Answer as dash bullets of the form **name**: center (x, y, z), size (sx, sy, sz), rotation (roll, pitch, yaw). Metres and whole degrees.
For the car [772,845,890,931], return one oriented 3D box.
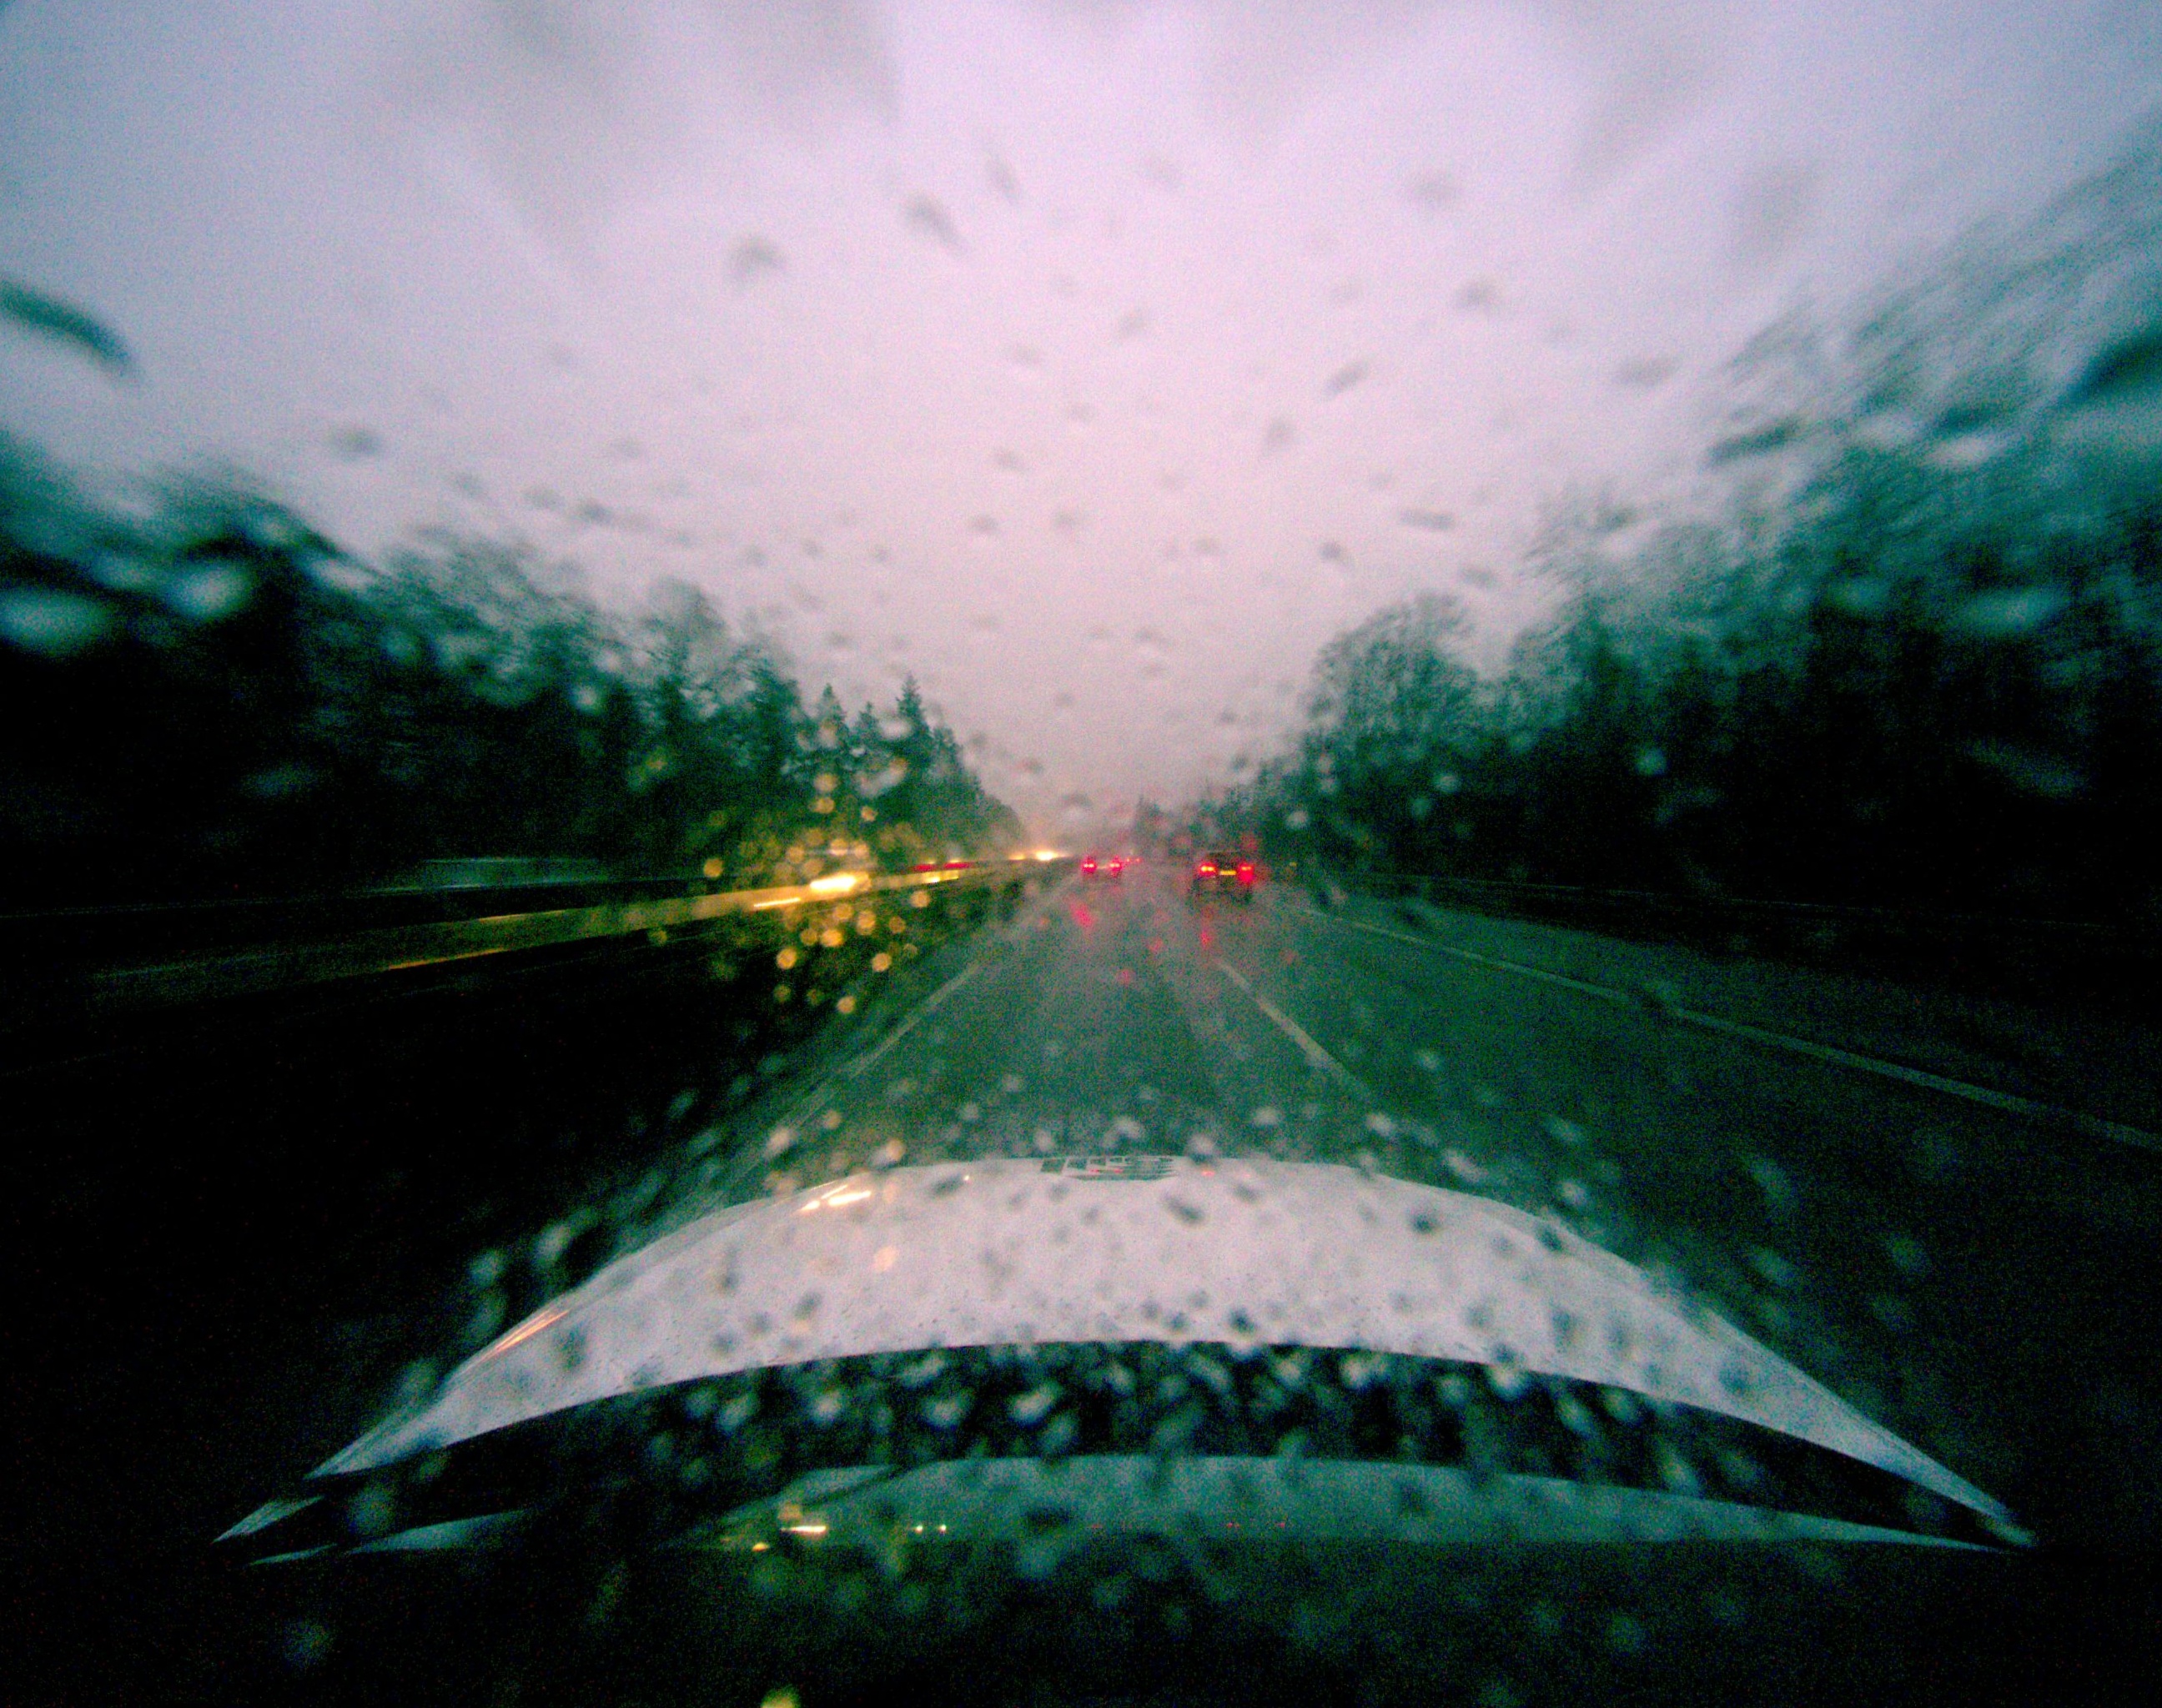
- **car**: center (-6.670, 0.849, 22.259), size (1.716, 2.087, 4.520), rotation (-1, 0, 1)

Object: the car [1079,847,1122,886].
- **car**: center (0.954, 0.580, 39.962), size (1.979, 1.767, 4.174), rotation (-2, 0, 1)

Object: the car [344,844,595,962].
- **car**: center (-10.960, 0.787, 14.995), size (1.625, 1.866, 3.897), rotation (-1, 0, 1)

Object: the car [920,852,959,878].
- **car**: center (-10.832, 0.832, 62.603), size (1.986, 1.950, 4.714), rotation (-1, 0, 2)

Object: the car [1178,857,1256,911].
- **car**: center (4.673, 0.979, 28.523), size (2.063, 1.698, 4.462), rotation (-1, 0, 1)
